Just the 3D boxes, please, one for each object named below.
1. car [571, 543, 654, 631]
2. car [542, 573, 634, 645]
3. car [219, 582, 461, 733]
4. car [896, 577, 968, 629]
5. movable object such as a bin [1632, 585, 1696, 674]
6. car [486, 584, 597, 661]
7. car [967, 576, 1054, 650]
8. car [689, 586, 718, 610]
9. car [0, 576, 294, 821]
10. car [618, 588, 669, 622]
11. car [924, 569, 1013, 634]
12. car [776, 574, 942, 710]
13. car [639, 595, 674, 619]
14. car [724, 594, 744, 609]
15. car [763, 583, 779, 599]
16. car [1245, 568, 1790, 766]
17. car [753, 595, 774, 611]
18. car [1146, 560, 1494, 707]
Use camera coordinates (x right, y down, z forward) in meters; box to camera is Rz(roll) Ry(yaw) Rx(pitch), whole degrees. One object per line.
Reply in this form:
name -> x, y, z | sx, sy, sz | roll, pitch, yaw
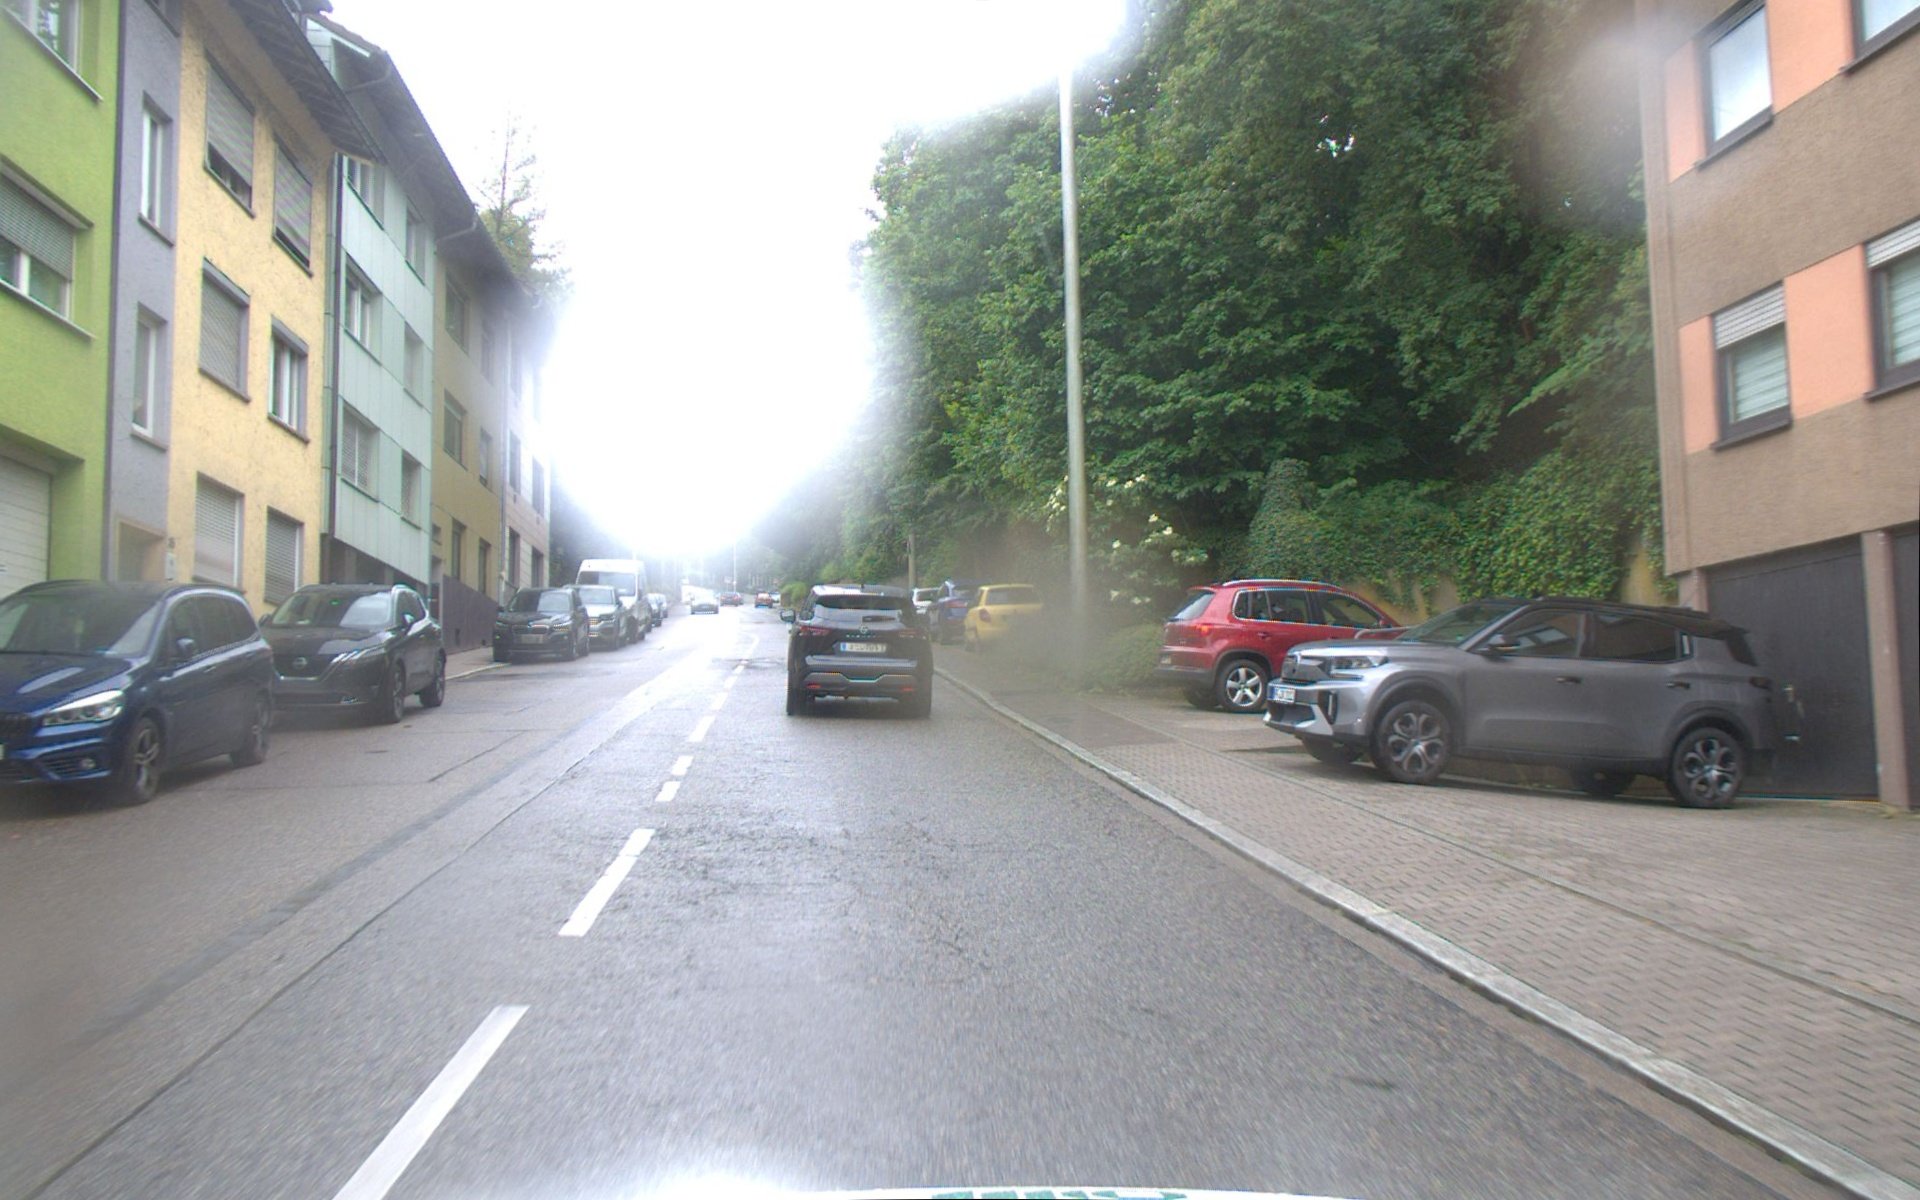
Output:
car -> -10.616, -0.418, 50.862 | 1.953, 2.518, 5.775 | -1, 1, -7
car -> -9.936, 0.199, 44.466 | 1.953, 1.786, 4.473 | -1, 1, -7
car -> -7.513, 0.608, 20.487 | 1.818, 1.612, 4.298 | -1, 1, -7
car -> -0.961, 0.070, 54.873 | 1.777, 1.556, 4.409 | -3, 1, -8
movable object such as a bin -> 8.711, 0.367, 20.484 | 0.498, 1.080, 0.602 | 0, -2, -7
car -> -9.596, 0.459, 38.234 | 1.953, 1.612, 4.298 | -1, 1, -7
car -> 1.084, 0.254, 37.192 | 1.600, 1.556, 3.997 | 0, 1, -4
car -> -18.393, -0.148, 118.768 | 1.956, 1.586, 3.993 | 0, 1, -8
car -> -6.945, 0.633, 13.143 | 1.956, 1.612, 4.464 | -1, 1, -7
car -> -14.226, 0.199, 74.516 | 1.953, 1.408, 4.451 | -1, 1, -7
car -> 0.172, 0.014, 44.088 | 1.776, 1.556, 4.411 | -3, 1, -7
car -> -1.403, 0.476, 21.619 | 1.955, 1.586, 3.995 | 0, 1, -6
car -> -19.479, 0.421, 106.379 | 1.953, 1.408, 4.451 | -1, 1, -7
car -> -24.436, 0.162, 178.860 | 2.035, 1.587, 3.993 | 0, 1, -8
car -> -25.659, -1.180, 224.371 | 1.954, 2.049, 3.997 | 0, -2, -3
car -> 4.745, 0.555, 14.350 | 4.120, 1.522, 1.757 | 2, 0, -9
car -> -20.726, 0.305, 174.334 | 2.036, 1.587, 3.991 | 0, 1, -9
car -> 4.719, 0.432, 21.901 | 4.122, 1.765, 1.756 | 2, 0, -11
